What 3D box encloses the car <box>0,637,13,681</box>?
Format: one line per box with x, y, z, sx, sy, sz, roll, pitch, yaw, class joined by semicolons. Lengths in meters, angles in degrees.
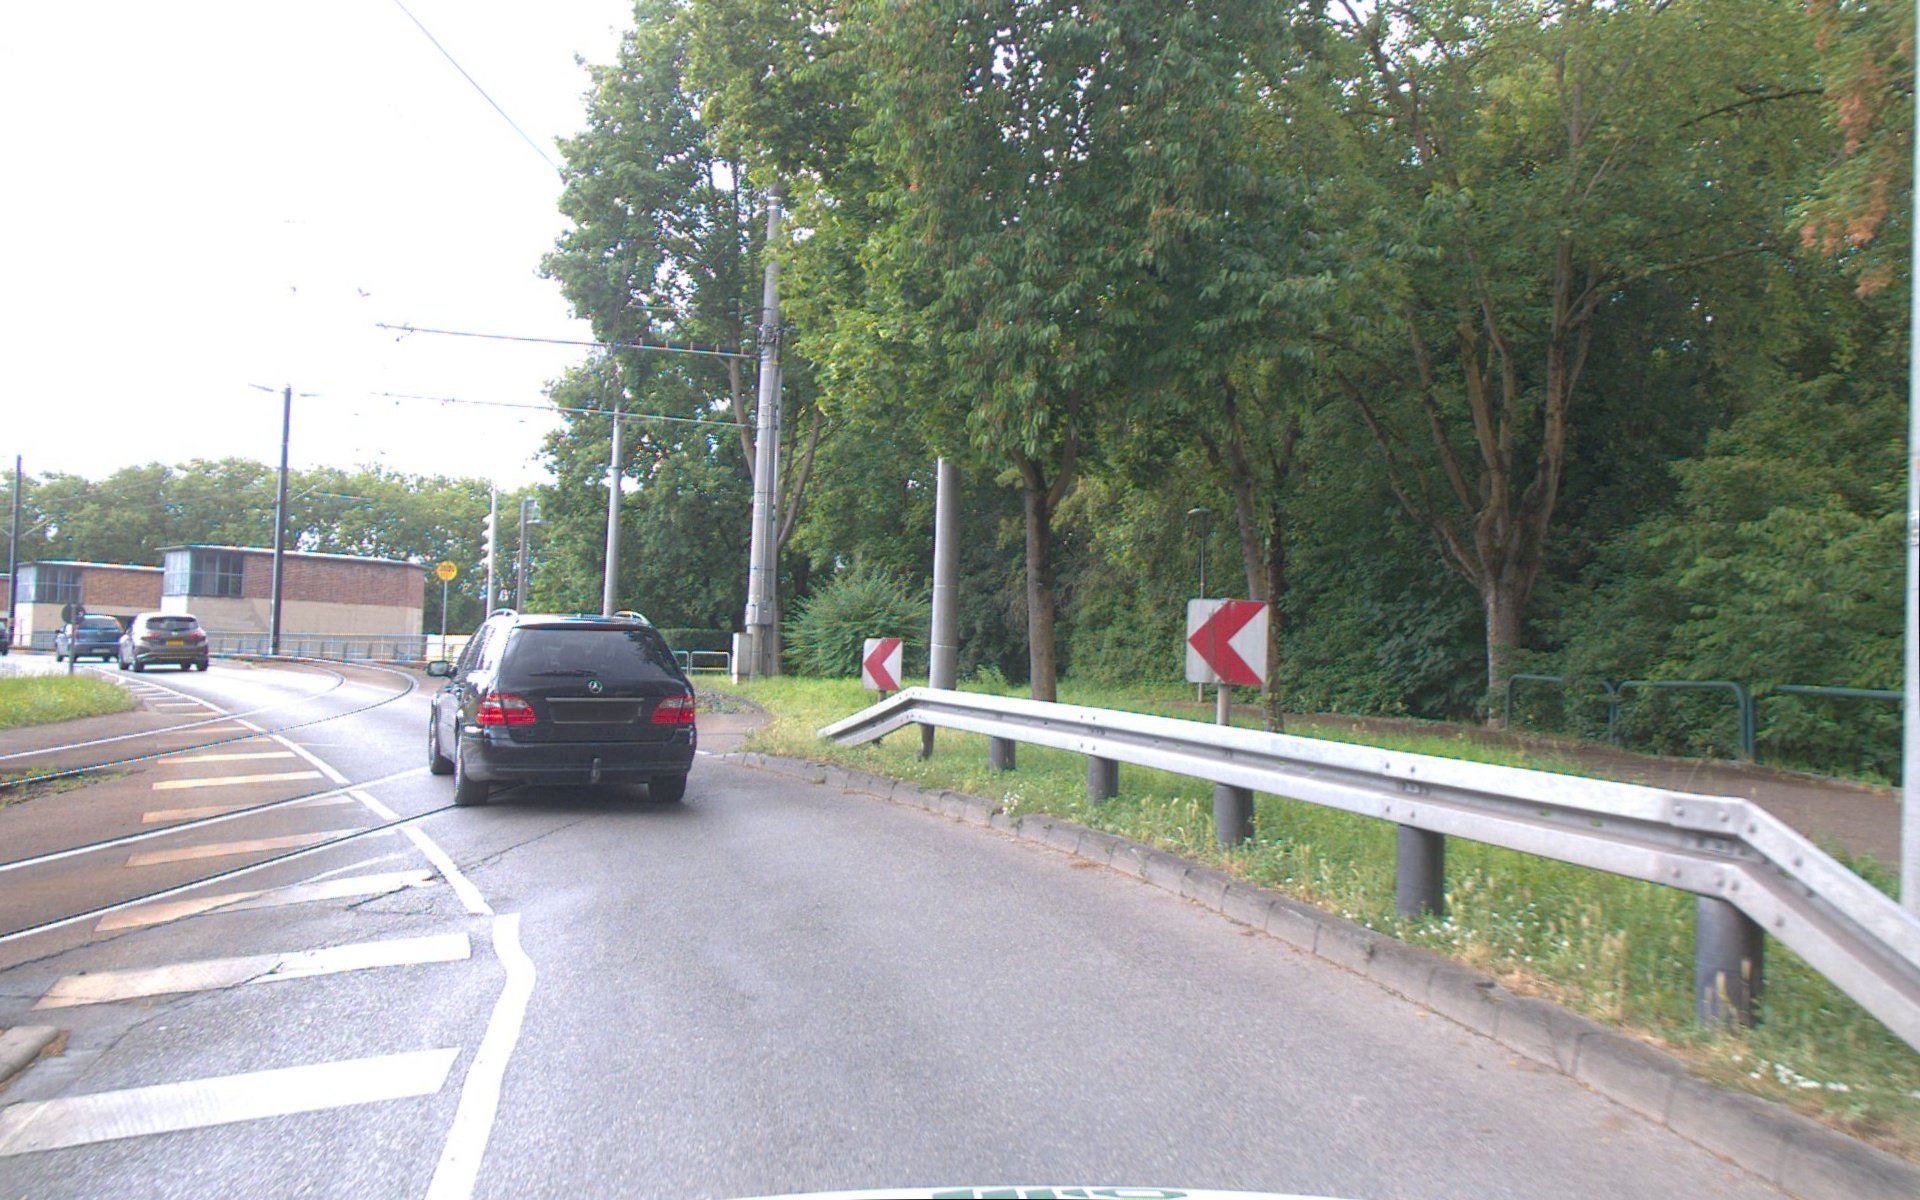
-40.028;2.377;67.348;1.979;1.702;4.480;0;-1;-37;car

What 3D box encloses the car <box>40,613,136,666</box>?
-28.704;1.259;54.392;1.980;1.592;4.929;0;0;-38;car

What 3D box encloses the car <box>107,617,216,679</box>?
-21.339;1.237;44.112;1.758;1.583;4.181;0;-1;-39;car

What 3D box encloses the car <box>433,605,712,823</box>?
-3.448;0.827;14.100;1.734;1.542;4.413;0;-1;-21;car

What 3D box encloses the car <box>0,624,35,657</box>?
-48.920;2.078;84.757;1.978;1.598;4.840;4;-4;-37;car
